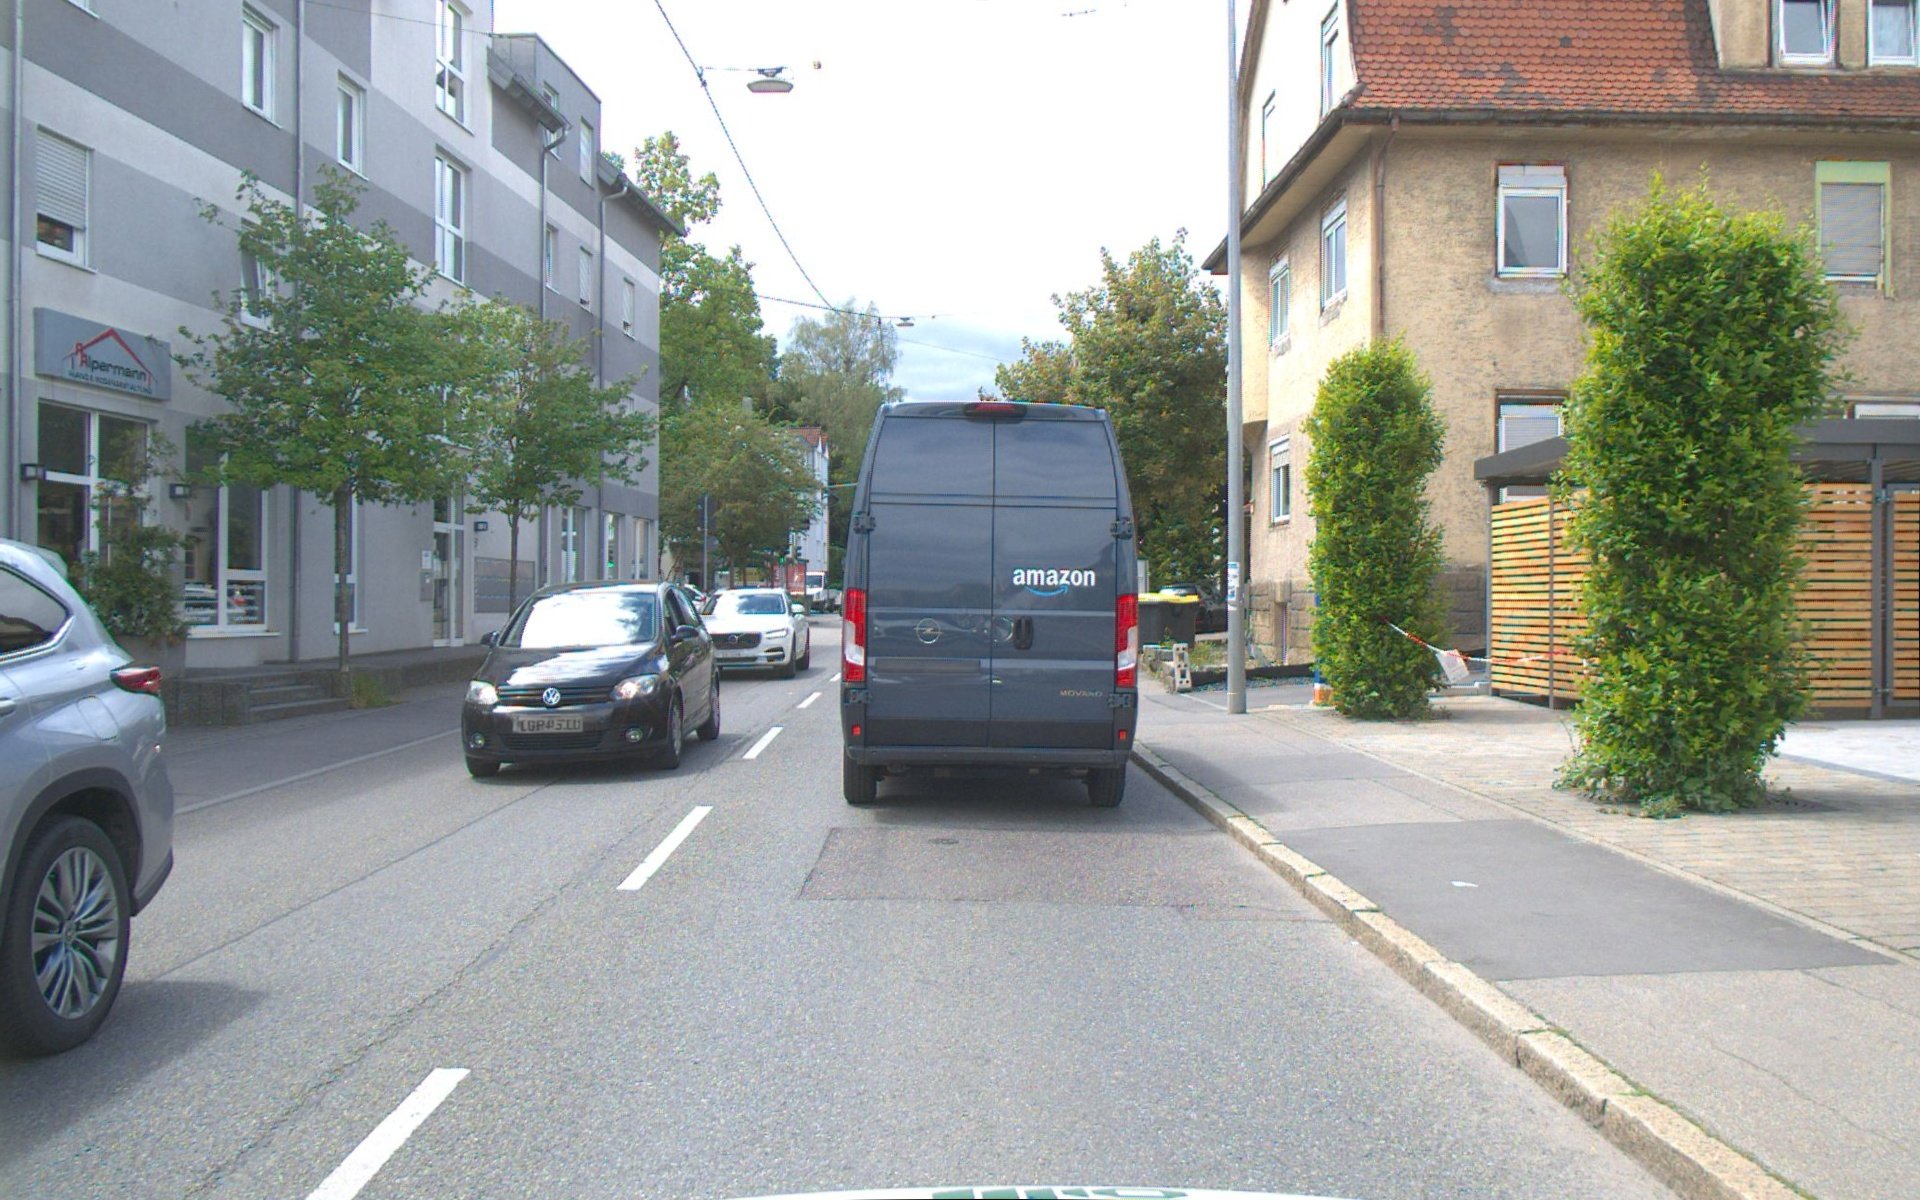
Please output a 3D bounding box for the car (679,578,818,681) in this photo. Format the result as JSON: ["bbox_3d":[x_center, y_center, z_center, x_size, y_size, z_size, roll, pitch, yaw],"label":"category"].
[{"bbox_3d":[-3.625,0.453,29.155,1.859,1.587,4.799,-2,0,-1],"label":"car"}]

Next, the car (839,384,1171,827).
[{"bbox_3d":[0.161,0.021,13.703,2.105,2.819,6.246,1,0,-3],"label":"car"}]

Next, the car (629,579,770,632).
[{"bbox_3d":[-8.196,0.148,52.353,4.125,1.540,1.822,1,1,0],"label":"car"}]

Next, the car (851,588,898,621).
[{"bbox_3d":[-3.848,0.185,74.638,1.835,1.449,4.115,1,0,1],"label":"car"}]

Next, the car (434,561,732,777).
[{"bbox_3d":[-3.177,0.512,14.738,1.795,1.612,4.036,-2,0,-2],"label":"car"}]

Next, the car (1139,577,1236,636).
[{"bbox_3d":[6.893,0.168,49.708,1.717,1.543,4.077,-3,0,25],"label":"car"}]

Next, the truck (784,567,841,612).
[{"bbox_3d":[-8.287,-0.555,93.485,2.178,2.421,6.328,1,0,4],"label":"truck"}]

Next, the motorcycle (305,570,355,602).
[{"bbox_3d":[-20.946,-0.479,55.064,1.180,1.022,2.332,1,0,-12],"label":"motorcycle"}]

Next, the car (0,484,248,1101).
[{"bbox_3d":[-3.736,0.589,3.976,1.946,1.768,4.795,-2,0,-1],"label":"car"}]

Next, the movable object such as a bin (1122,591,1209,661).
[{"bbox_3d":[3.903,0.481,31.484,1.170,1.288,1.197,0,0,-31],"label":"movable object such as a bin"}]
